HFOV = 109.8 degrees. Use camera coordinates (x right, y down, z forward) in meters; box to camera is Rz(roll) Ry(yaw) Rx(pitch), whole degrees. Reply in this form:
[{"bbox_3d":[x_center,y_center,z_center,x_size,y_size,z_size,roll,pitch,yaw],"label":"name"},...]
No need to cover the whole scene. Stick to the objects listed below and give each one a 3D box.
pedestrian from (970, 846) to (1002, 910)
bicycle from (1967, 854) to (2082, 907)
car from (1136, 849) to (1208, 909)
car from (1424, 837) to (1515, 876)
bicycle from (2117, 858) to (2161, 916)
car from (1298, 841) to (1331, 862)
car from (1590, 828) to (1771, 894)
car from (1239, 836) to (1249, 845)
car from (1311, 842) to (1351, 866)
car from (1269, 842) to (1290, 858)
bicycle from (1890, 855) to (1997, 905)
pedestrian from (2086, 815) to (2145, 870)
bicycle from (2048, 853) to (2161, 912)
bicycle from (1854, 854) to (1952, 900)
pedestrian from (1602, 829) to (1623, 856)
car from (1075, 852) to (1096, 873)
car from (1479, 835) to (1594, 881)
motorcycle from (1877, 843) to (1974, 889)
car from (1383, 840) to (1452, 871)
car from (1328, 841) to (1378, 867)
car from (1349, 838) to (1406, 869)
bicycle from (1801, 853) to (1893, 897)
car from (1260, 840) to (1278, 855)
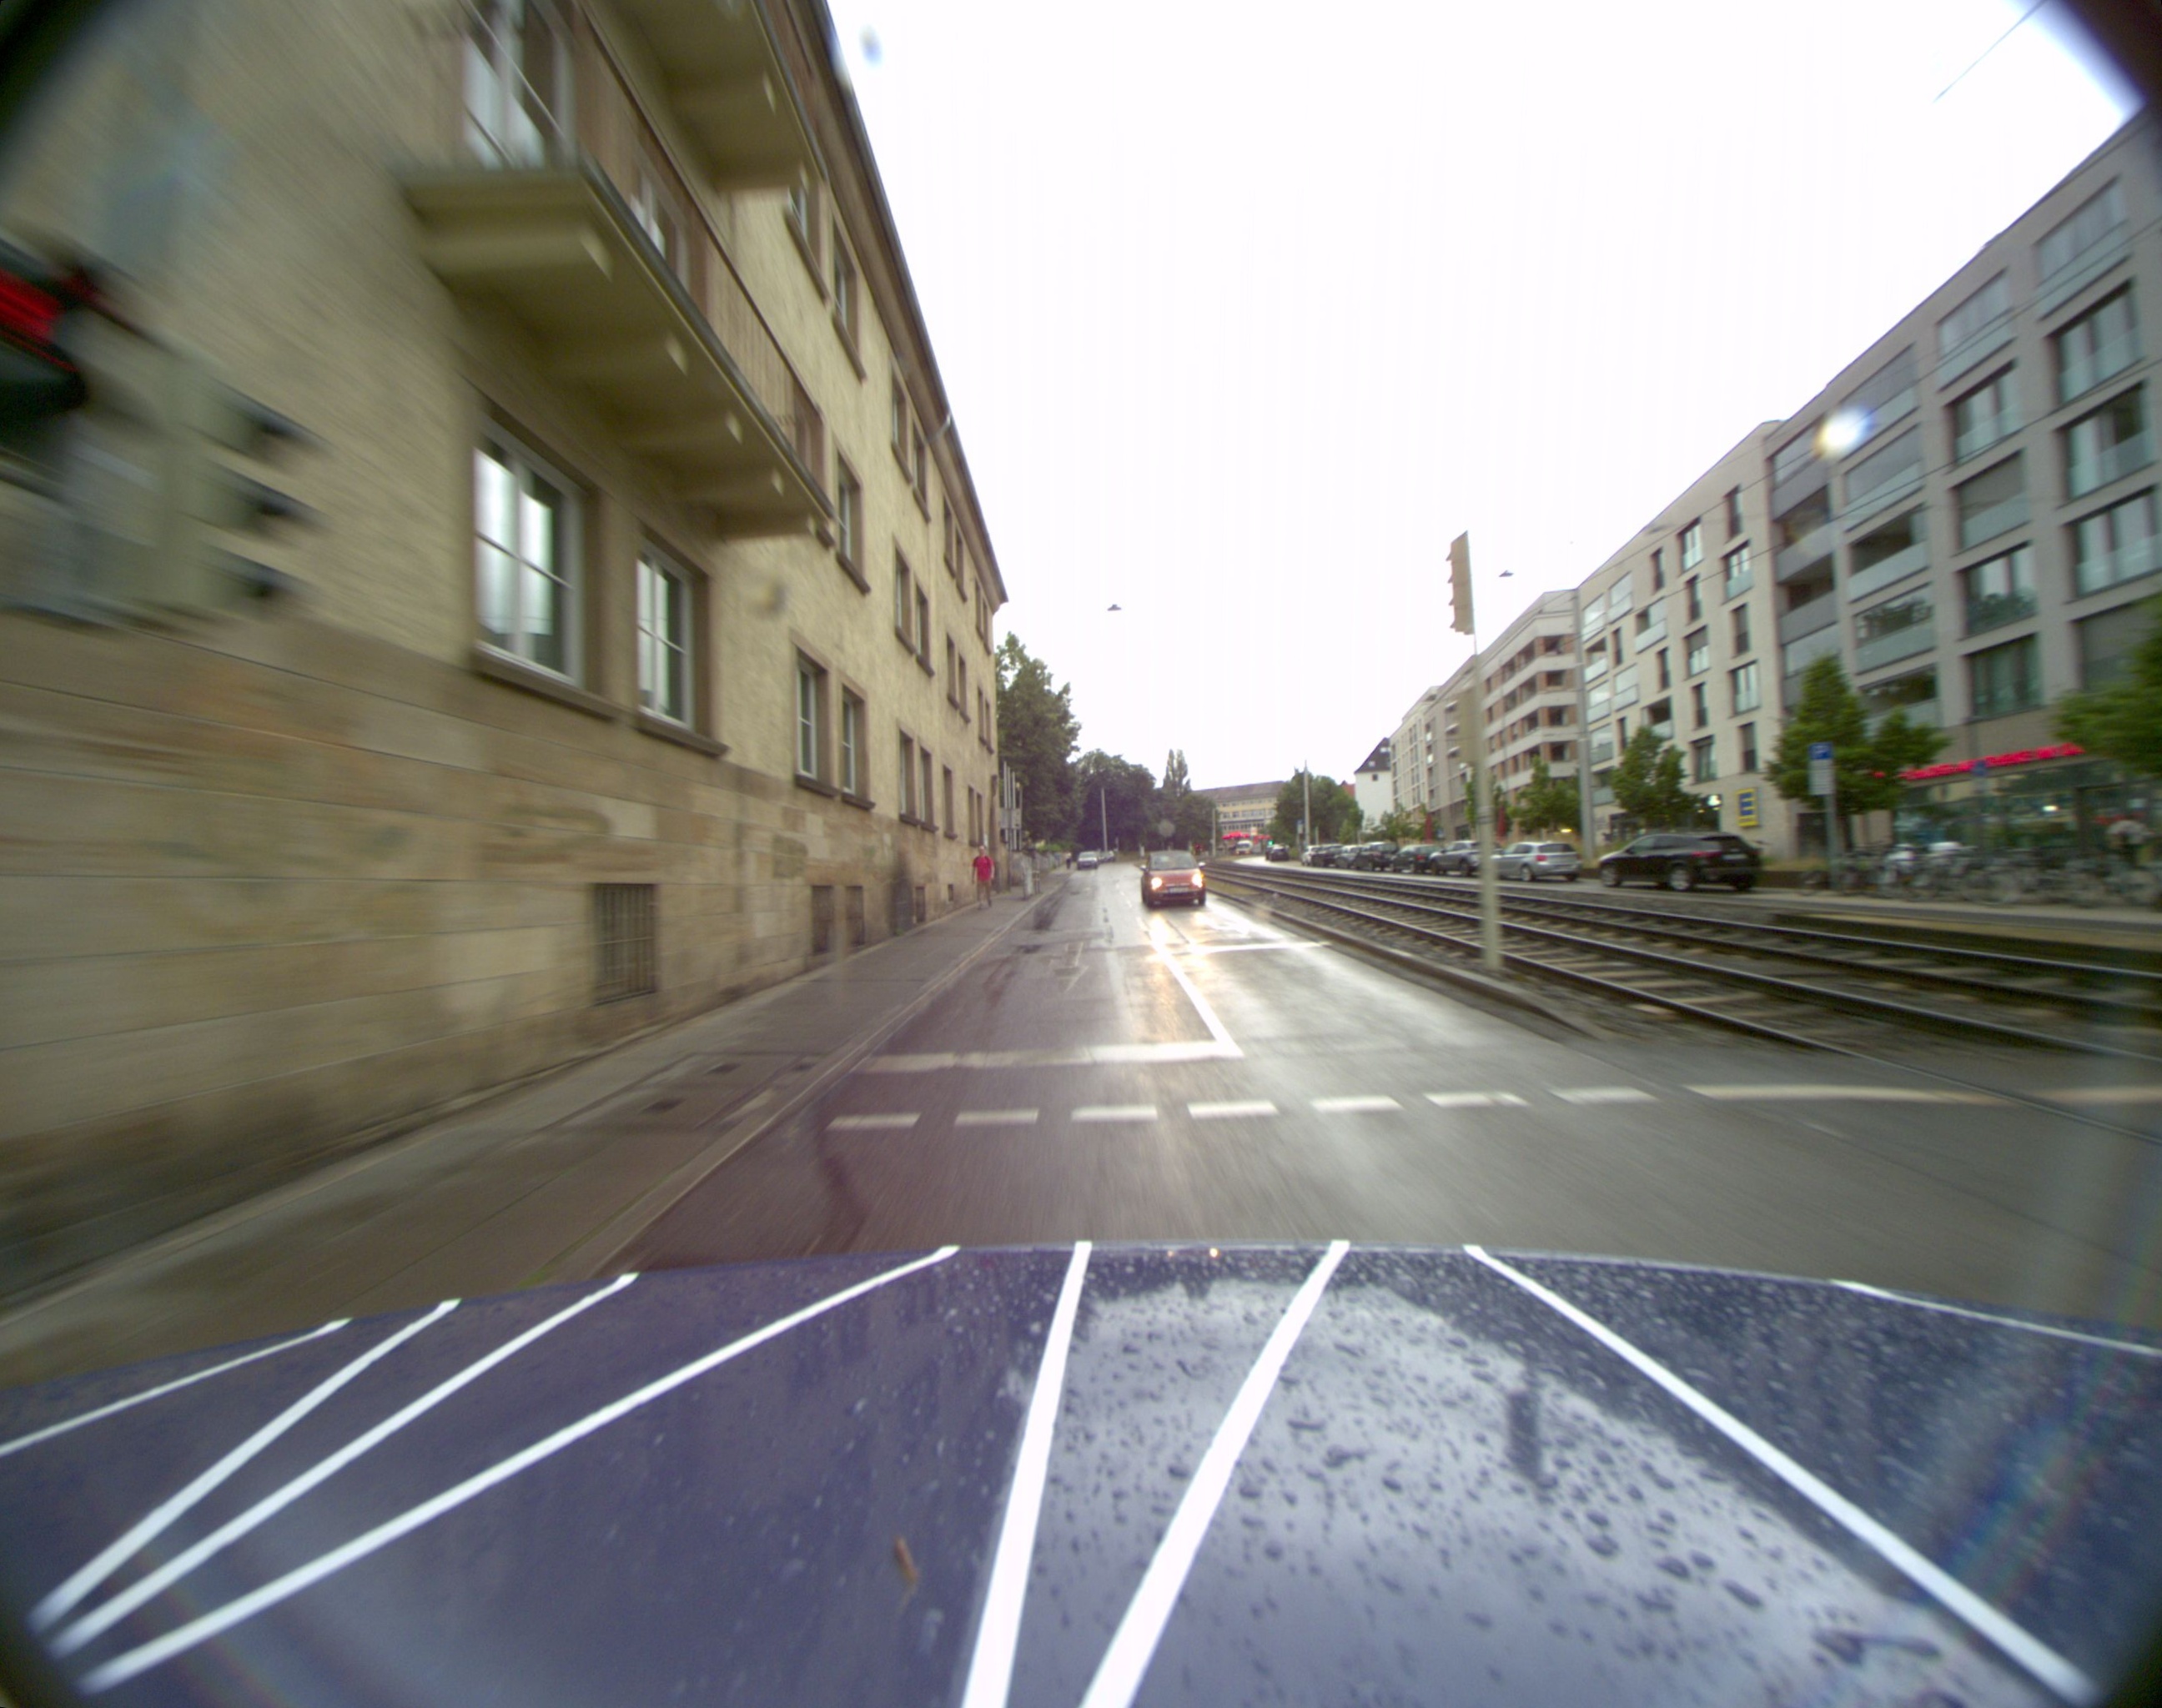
[{"bbox_3d":[-2.659,0.658,21.336,0.748,1.754,0.818,1,1,1],"label":"pedestrian"},{"bbox_3d":[18.016,0.505,14.516,1.788,0.912,0.387,-3,1,-3],"label":"bicycle"},{"bbox_3d":[2.548,0.658,22.043,1.594,1.455,3.669,-5,1,1],"label":"car"},{"bbox_3d":[16.896,0.072,33.276,1.685,1.521,4.048,-4,1,-3],"label":"car"},{"bbox_3d":[18.409,0.521,12.743,1.789,0.912,0.387,-2,1,-7],"label":"bicycle"},{"bbox_3d":[17.778,-0.227,57.997,1.649,1.496,3.782,-3,1,7],"label":"car"},{"bbox_3d":[16.712,0.152,21.511,1.684,1.594,4.329,-3,1,1],"label":"car"},{"bbox_3d":[33.683,-2.789,156.778,1.666,1.597,3.812,-4,1,17],"label":"car"},{"bbox_3d":[17.383,-0.052,52.961,1.683,1.496,4.406,-3,1,6],"label":"car"},{"bbox_3d":[20.015,-0.405,76.819,1.653,1.455,3.672,-4,1,10],"label":"car"},{"bbox_3d":[17.547,0.519,15.466,1.788,0.912,0.387,-2,1,-3],"label":"bicycle"},{"bbox_3d":[28.183,-0.320,20.712,0.540,1.441,0.803,-4,1,14],"label":"pedestrian"},{"bbox_3d":[18.282,0.497,13.493,1.788,0.912,0.387,-3,1,-3],"label":"bicycle"},{"bbox_3d":[17.923,0.502,16.571,1.788,0.912,0.387,-3,1,-3],"label":"bicycle"},{"bbox_3d":[30.125,-0.647,43.062,0.657,1.441,0.803,-4,1,14],"label":"pedestrian"},{"bbox_3d":[0.426,0.735,69.263,1.726,1.676,3.866,-5,1,1],"label":"car"},{"bbox_3d":[16.770,0.108,28.237,1.684,1.456,4.329,-3,1,1],"label":"car"},{"bbox_3d":[20.452,0.277,18.421,1.763,1.037,0.543,-2,3,-2],"label":"motorcycle"},{"bbox_3d":[16.783,0.061,38.095,1.684,1.373,4.032,-3,1,1],"label":"car"},{"bbox_3d":[17.209,-0.013,48.238,1.684,1.496,3.928,-3,1,1],"label":"car"},{"bbox_3d":[16.689,-0.042,42.996,1.684,1.554,3.928,-3,1,1],"label":"car"},{"bbox_3d":[17.694,0.475,17.560,1.788,0.912,0.387,-3,1,-3],"label":"bicycle"},{"bbox_3d":[21.034,-0.776,85.261,1.653,1.455,3.672,-4,1,10],"label":"car"}]
